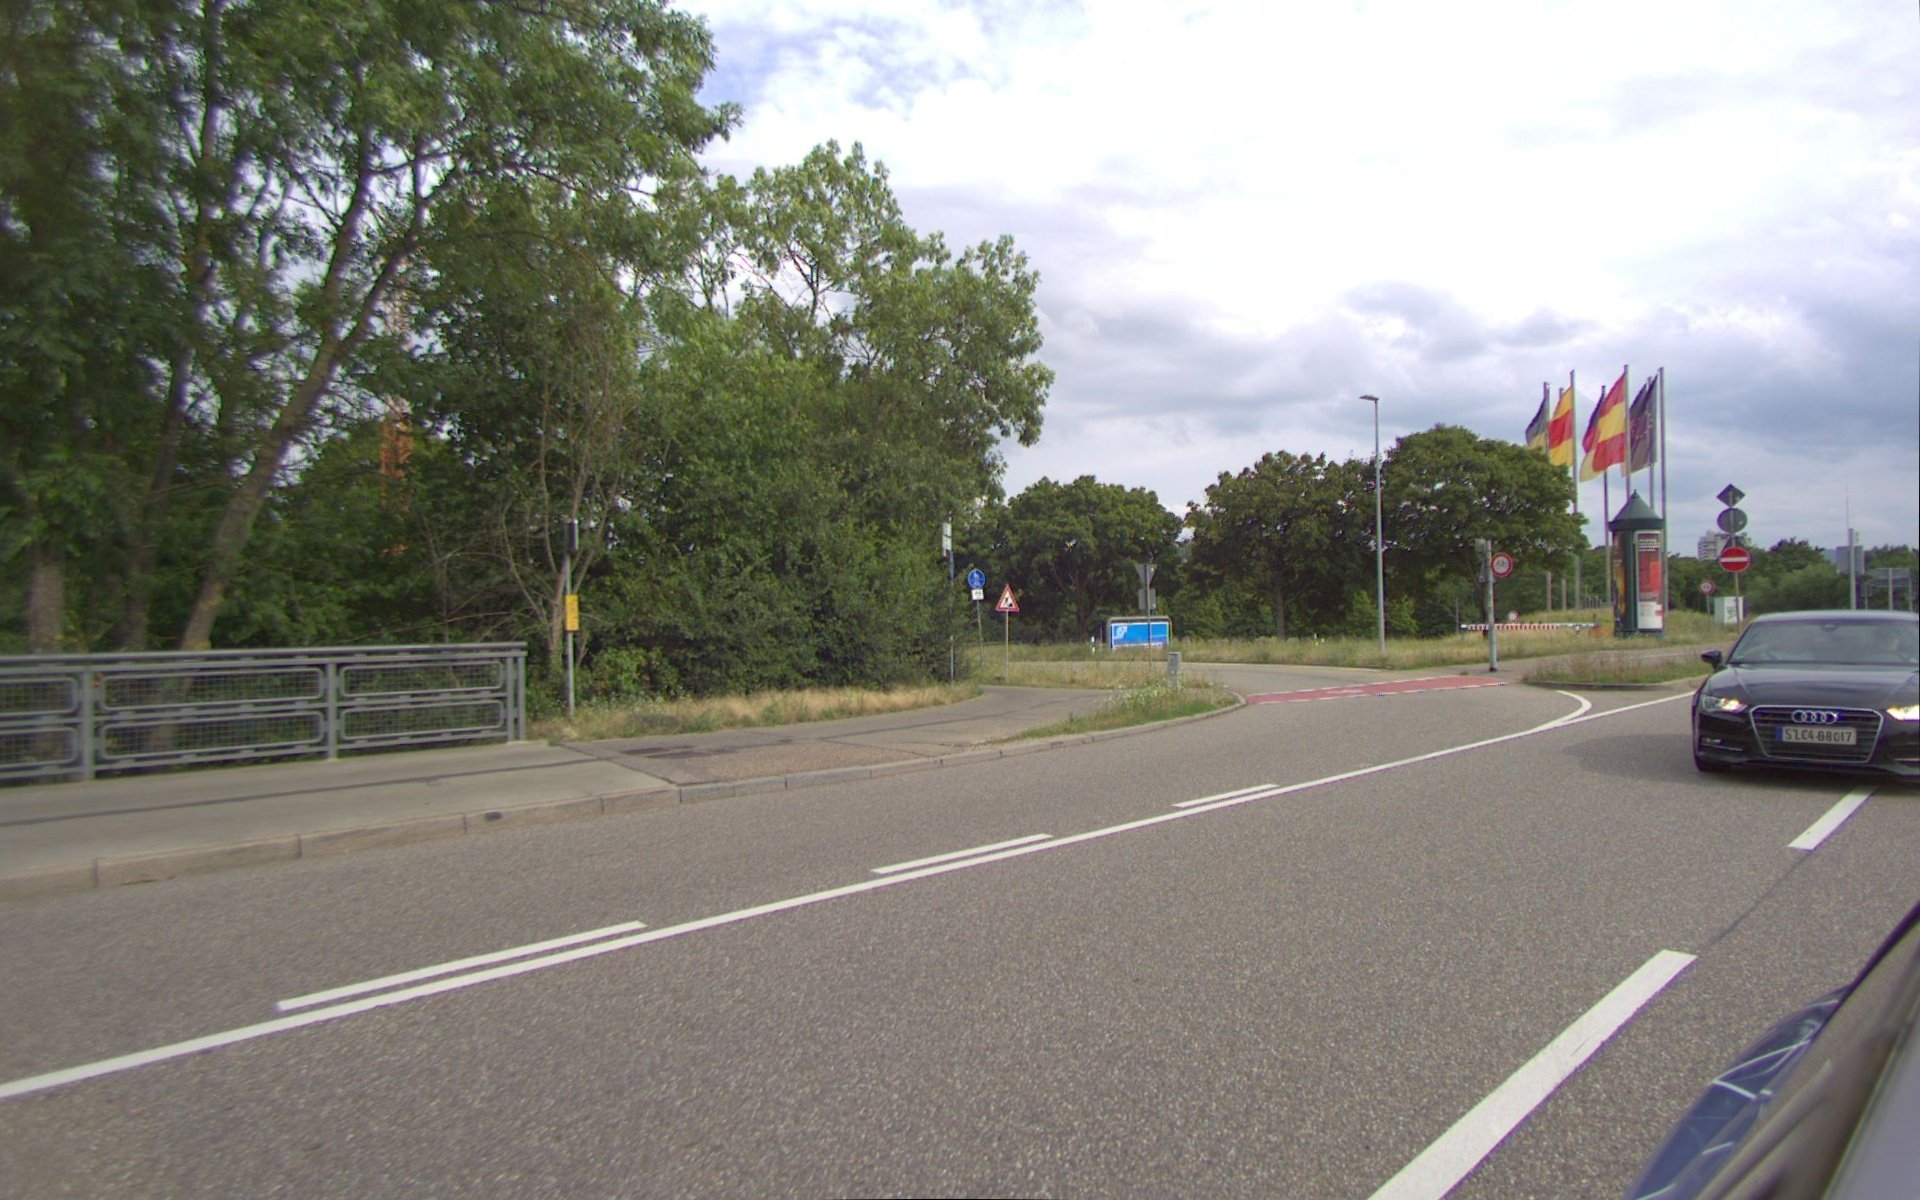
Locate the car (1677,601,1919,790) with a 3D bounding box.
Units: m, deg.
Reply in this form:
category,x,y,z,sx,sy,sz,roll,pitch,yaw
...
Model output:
category,x,y,z,sx,sy,sz,roll,pitch,yaw
car,8.352,0.707,9.337,4.648,1.381,1.850,0,-2,-42
